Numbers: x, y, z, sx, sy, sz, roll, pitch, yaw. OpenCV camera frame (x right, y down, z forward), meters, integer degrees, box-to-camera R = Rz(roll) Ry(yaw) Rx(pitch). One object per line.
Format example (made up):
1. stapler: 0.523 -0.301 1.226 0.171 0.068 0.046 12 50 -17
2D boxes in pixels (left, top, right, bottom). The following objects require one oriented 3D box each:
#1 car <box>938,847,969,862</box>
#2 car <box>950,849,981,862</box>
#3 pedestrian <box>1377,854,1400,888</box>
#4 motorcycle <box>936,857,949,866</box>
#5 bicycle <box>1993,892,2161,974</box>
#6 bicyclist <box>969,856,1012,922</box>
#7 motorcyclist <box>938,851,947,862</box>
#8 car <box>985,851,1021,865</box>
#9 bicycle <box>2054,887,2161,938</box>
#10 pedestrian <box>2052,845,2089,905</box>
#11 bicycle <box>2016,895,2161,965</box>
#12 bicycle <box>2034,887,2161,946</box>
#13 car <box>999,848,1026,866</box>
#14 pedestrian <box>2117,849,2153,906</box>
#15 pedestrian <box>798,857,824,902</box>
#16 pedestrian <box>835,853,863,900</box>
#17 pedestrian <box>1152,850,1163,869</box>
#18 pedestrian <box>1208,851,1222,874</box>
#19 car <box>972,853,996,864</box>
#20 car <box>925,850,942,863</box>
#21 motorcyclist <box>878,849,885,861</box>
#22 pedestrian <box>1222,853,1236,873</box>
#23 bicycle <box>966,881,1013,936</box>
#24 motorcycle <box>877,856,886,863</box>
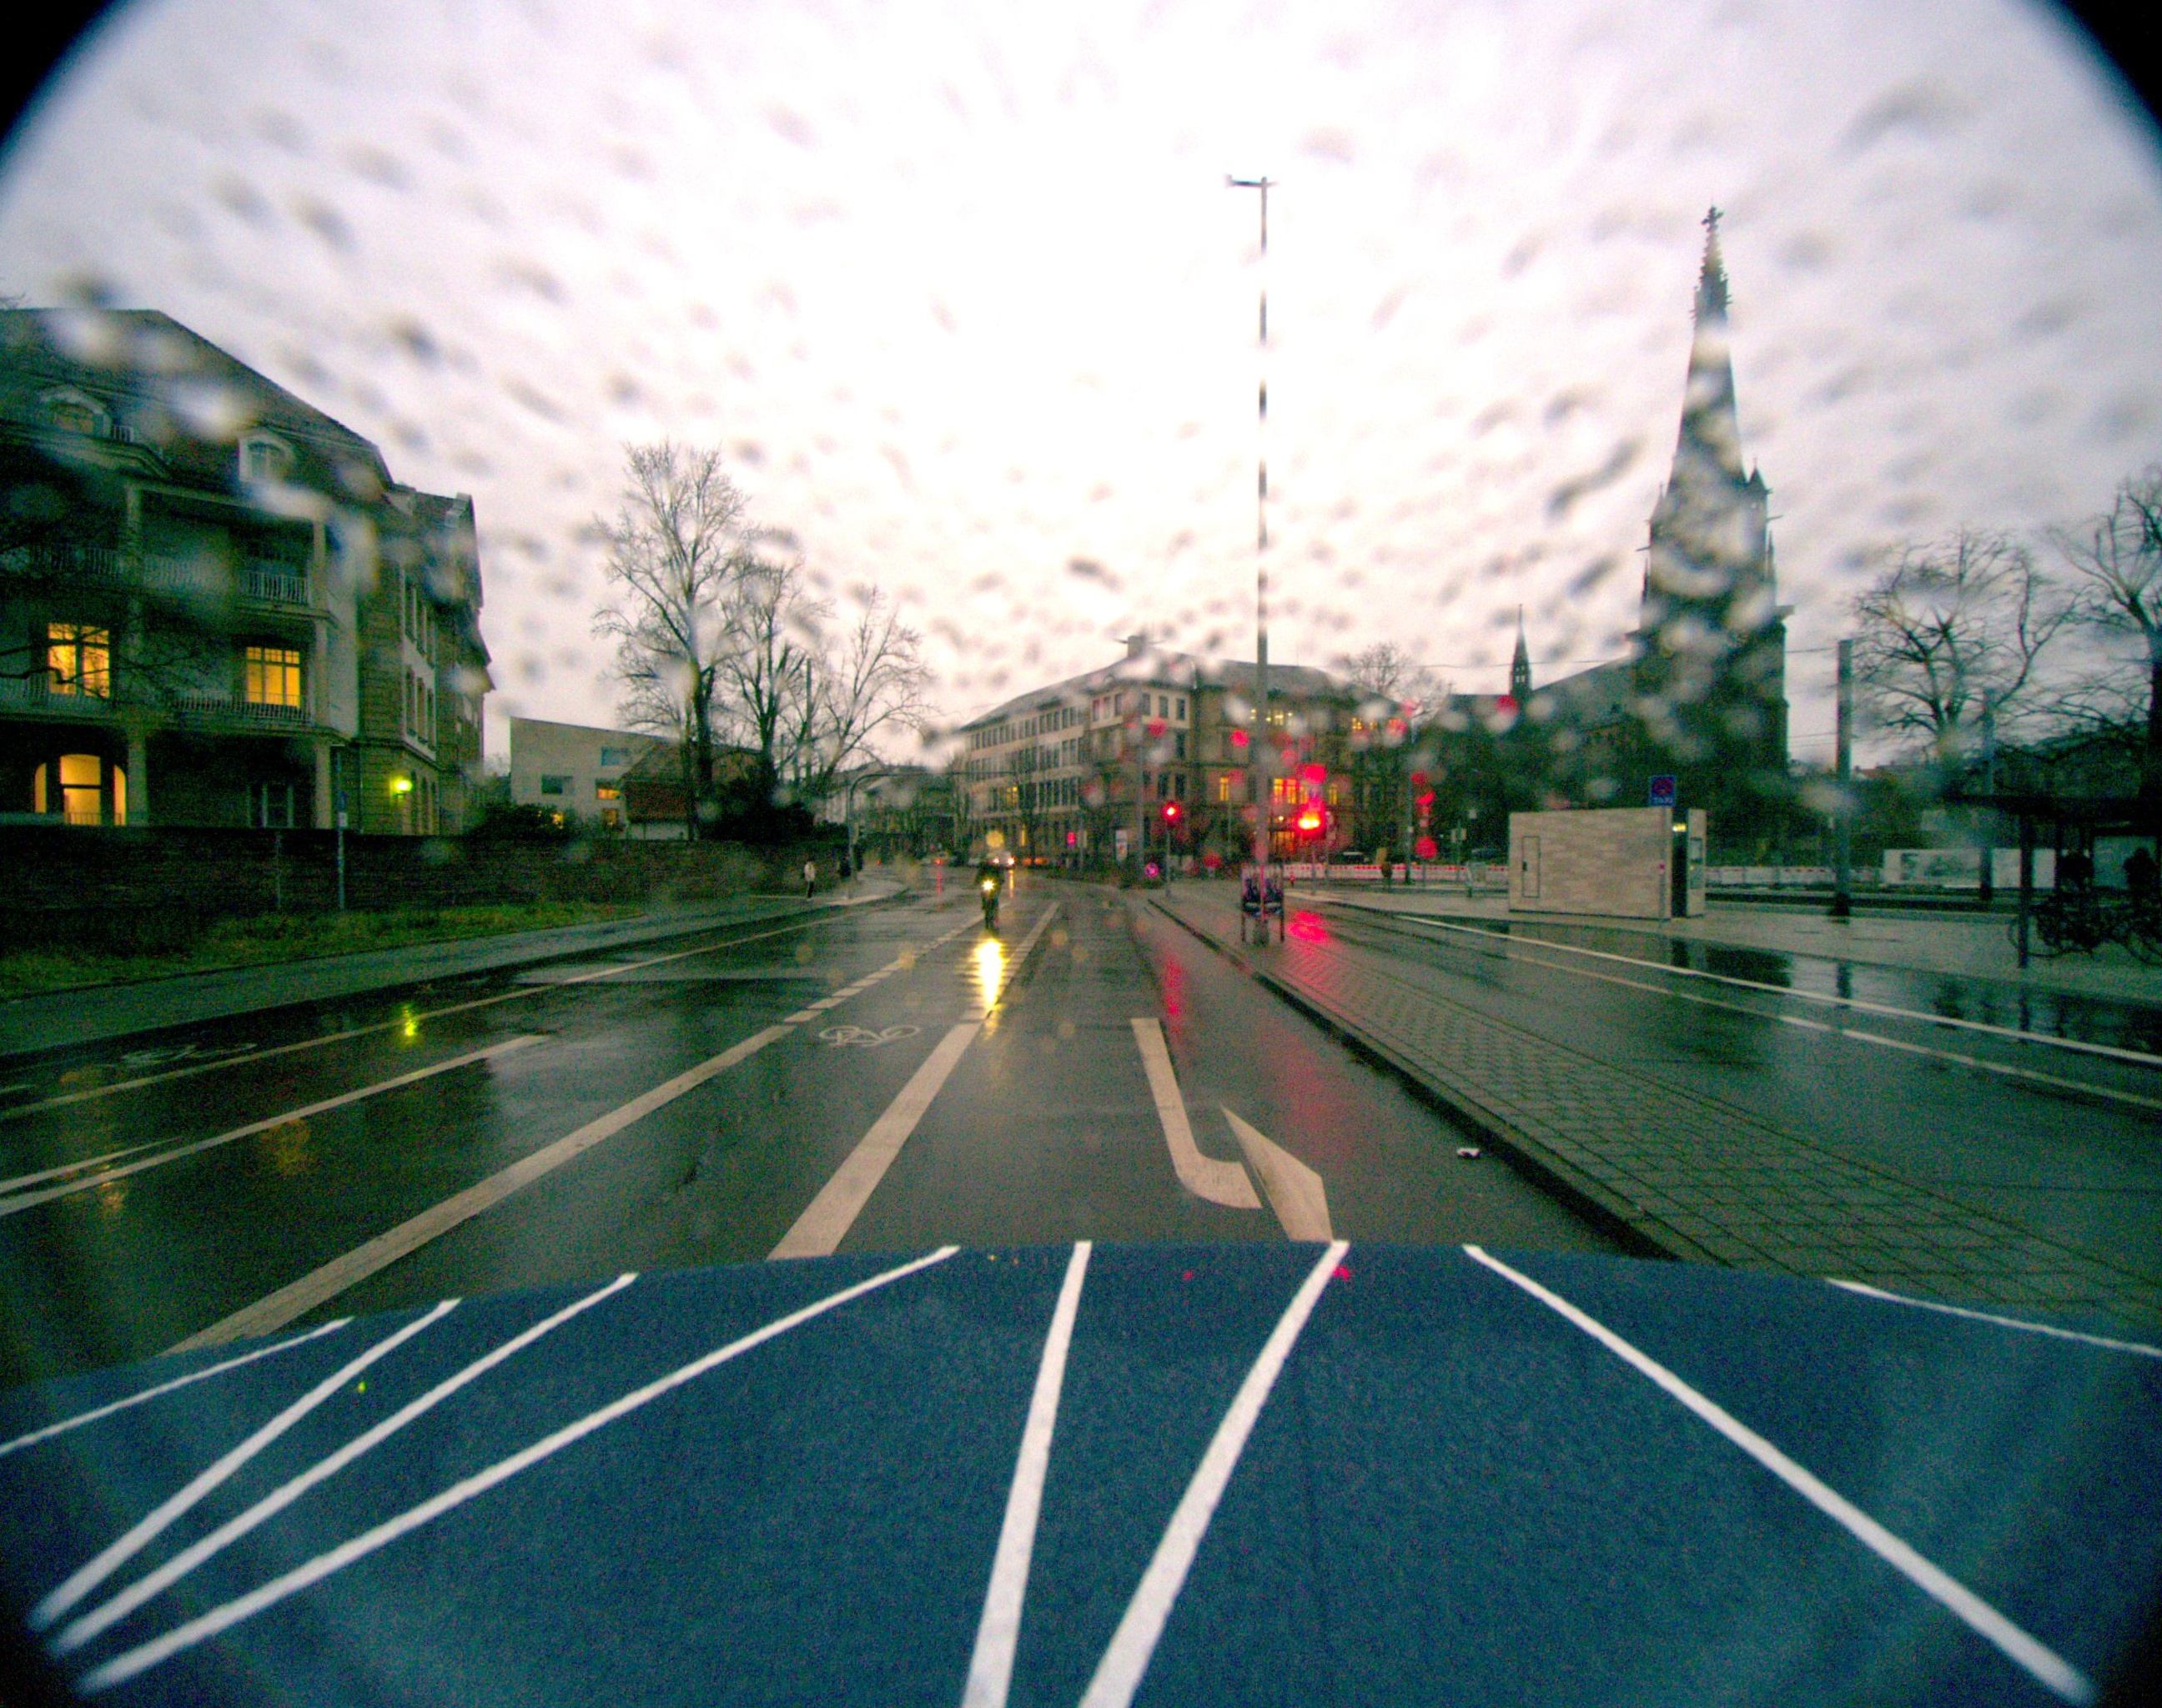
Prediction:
1. car: -16.993 0.067 101.479 2.043 1.889 4.007 -2 1 28
2. car: -15.088 0.191 99.414 1.797 1.541 4.007 -2 1 28
3. pedestrian: 15.512 0.856 38.351 0.771 1.651 1.210 -1 1 36
4. motorcycle: -16.185 0.879 88.688 0.714 1.048 2.162 0 0 -34
5. bicycle: 15.505 1.181 11.621 0.475 1.064 1.921 -2 2 -30
6. bicyclist: -2.073 0.786 17.590 0.785 1.444 1.134 -2 1 1
7. motorcyclist: -16.110 0.293 88.565 0.702 1.375 0.864 0 0 -34
8. car: -9.276 0.473 90.545 1.797 1.541 4.007 -1 1 45
9. bicycle: 20.854 1.161 15.027 0.475 0.905 1.921 -2 2 -30
10. pedestrian: 30.242 0.642 23.225 0.673 1.785 0.626 -3 2 -41
11. bicycle: 16.624 1.214 12.226 0.475 0.980 1.921 -2 2 -30
12. bicycle: 19.698 1.169 14.437 0.475 0.980 1.921 -2 2 -30
13. car: -7.488 0.342 83.742 1.881 1.835 4.003 -2 1 11
14. pedestrian: 31.054 0.691 22.397 0.541 1.642 0.562 -3 2 -41
15. pedestrian: -10.596 0.987 29.806 0.798 1.713 0.674 1 1 -5
16. pedestrian: -9.508 0.911 31.154 1.000 1.890 0.673 1 1 -8
17. pedestrian: 7.137 0.512 70.838 0.675 1.806 0.896 0 1 -28
18. pedestrian: 11.416 0.704 64.769 0.675 1.890 0.971 0 1 -33
19. car: -12.131 0.567 95.316 1.706 1.298 3.647 -2 1 16
20. car: -20.733 0.362 106.854 2.000 1.660 3.997 -2 1 -7
21. motorcyclist: -29.518 0.176 112.363 0.712 1.707 0.740 0 0 -33
22. pedestrian: 12.772 0.749 65.611 0.829 1.714 0.926 0 0 -29
23. bicycle: -2.081 1.227 17.568 0.785 1.069 1.957 -2 1 1
24. motorcycle: -29.488 0.841 112.396 0.727 1.048 2.162 0 0 -33
